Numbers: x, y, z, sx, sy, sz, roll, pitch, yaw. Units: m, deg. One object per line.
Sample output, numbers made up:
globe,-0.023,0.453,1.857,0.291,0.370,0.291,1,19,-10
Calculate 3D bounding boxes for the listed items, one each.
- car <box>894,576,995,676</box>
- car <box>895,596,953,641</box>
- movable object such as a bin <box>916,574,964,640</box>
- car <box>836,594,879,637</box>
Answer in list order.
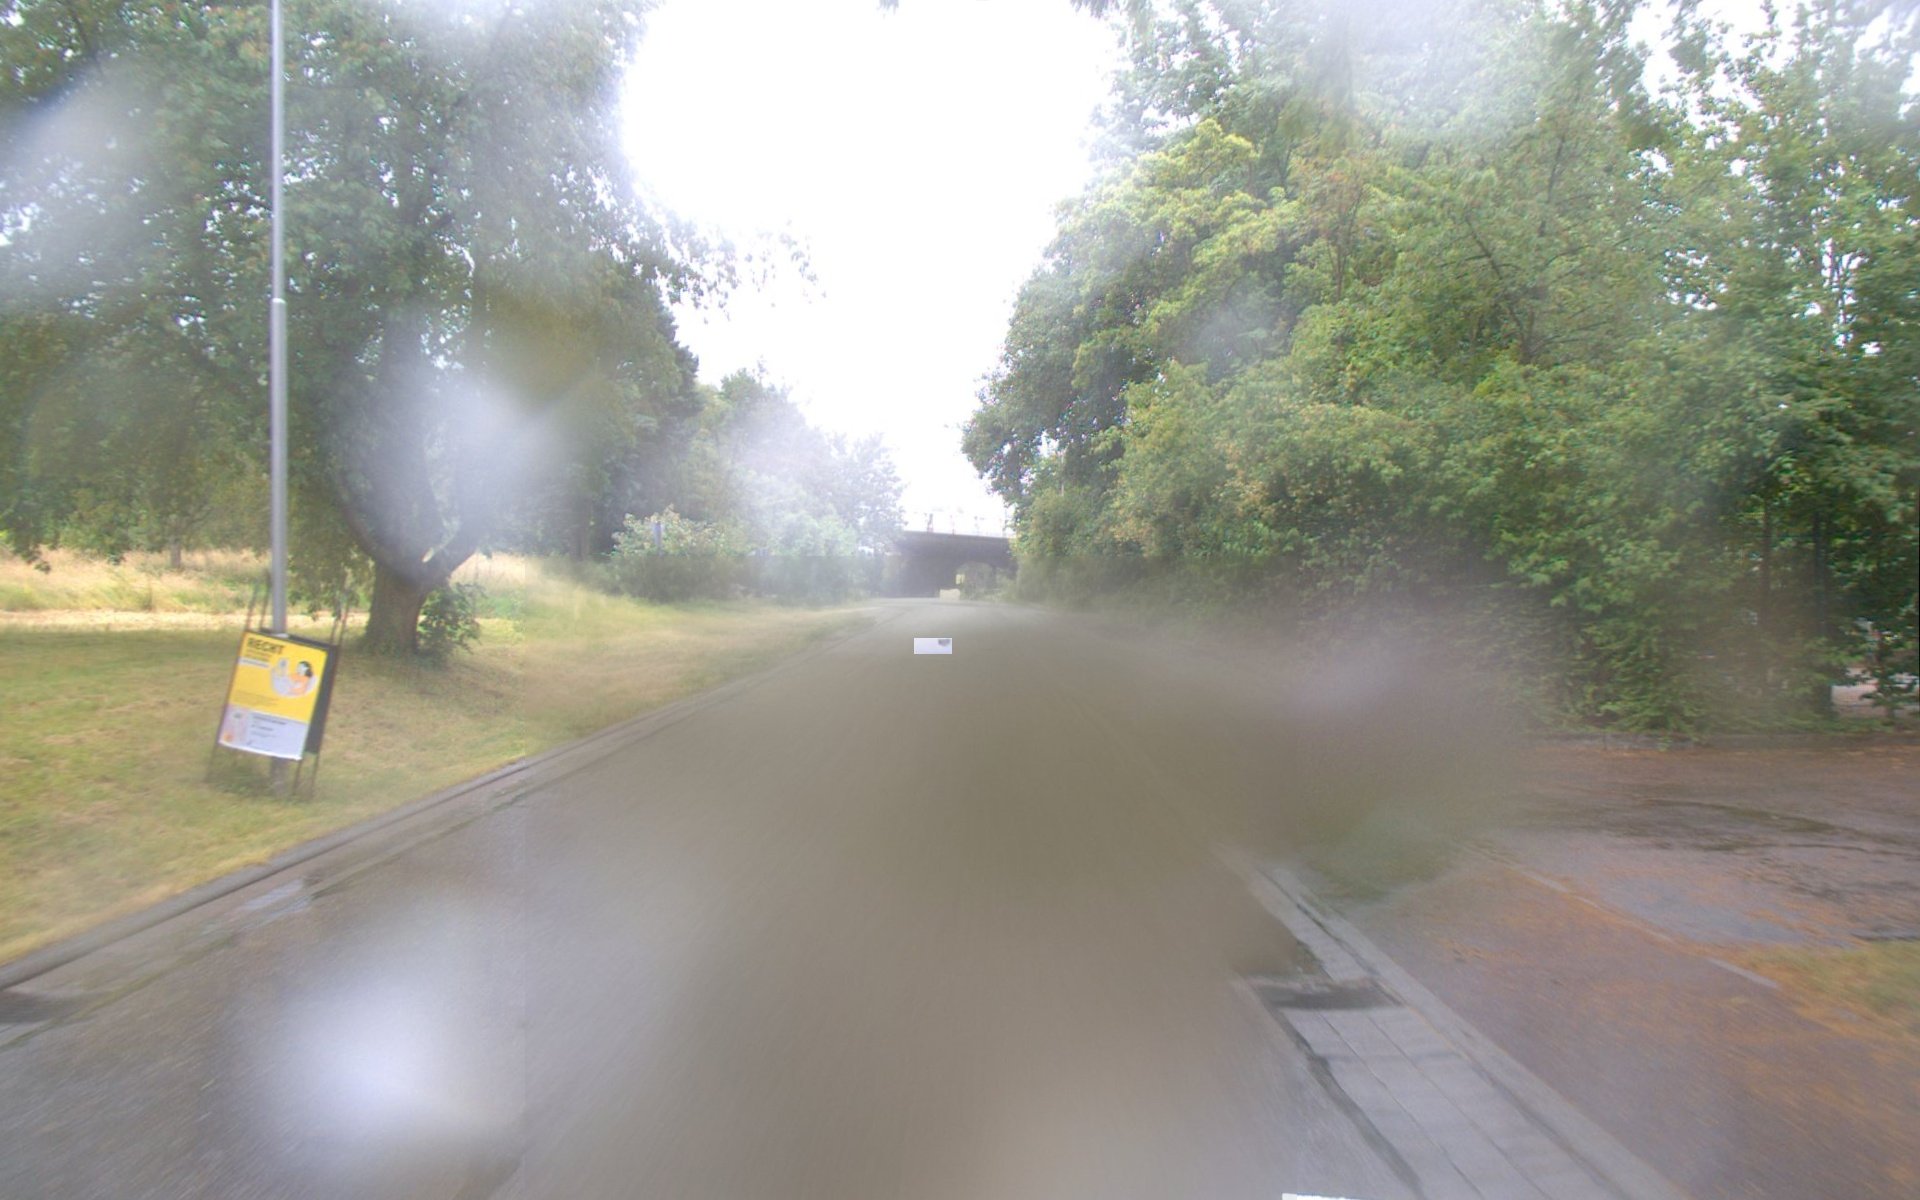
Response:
car,-0.299,0.480,32.961,1.858,1.838,4.000,-1,0,0
car,-1.156,0.602,54.549,1.673,1.402,4.001,1,-1,2
movable object such as a bin,-0.781,0.288,67.337,1.725,2.592,4.239,1,-1,2
car,-4.537,0.677,73.435,1.787,1.864,4.305,1,0,-2
